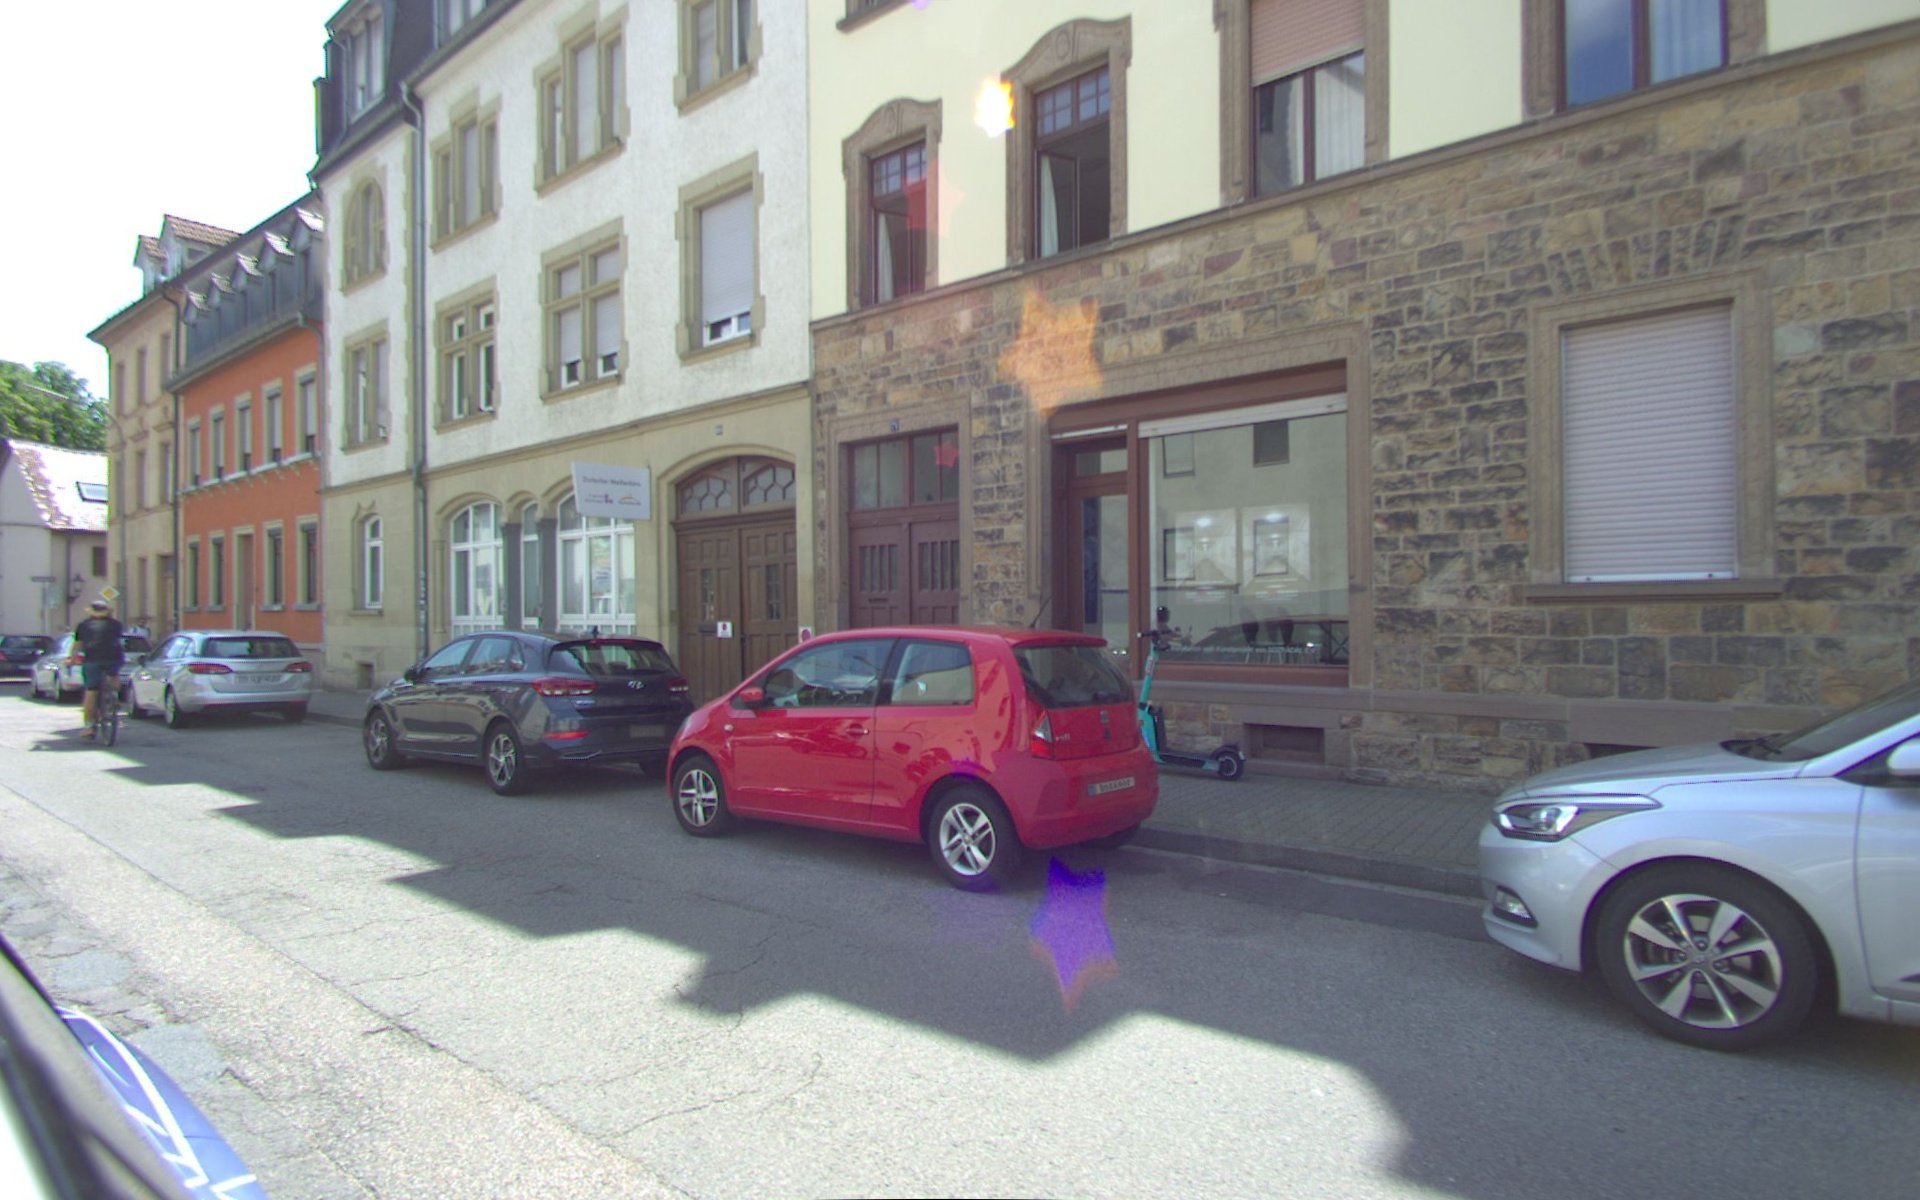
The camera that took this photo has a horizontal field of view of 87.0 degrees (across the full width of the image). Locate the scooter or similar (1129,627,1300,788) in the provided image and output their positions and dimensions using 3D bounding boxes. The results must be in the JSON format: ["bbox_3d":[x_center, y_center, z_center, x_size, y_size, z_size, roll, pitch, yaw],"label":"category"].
[{"bbox_3d":[2.070,0.847,8.335,1.318,1.230,0.371,-2,-2,39],"label":"scooter or similar"}]

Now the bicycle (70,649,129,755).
[{"bbox_3d":[-11.183,1.286,13.132,1.881,1.285,0.226,-2,-4,40],"label":"bicycle"}]

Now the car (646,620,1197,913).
[{"bbox_3d":[-0.383,0.886,6.763,3.490,1.453,1.583,-2,-2,38],"label":"car"}]

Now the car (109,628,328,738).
[{"bbox_3d":[-12.124,1.261,16.450,4.377,1.522,1.859,-2,-2,39],"label":"car"}]

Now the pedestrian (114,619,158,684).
[{"bbox_3d":[-23.241,1.444,28.549,0.763,1.784,0.761,-2,0,38],"label":"pedestrian"}]

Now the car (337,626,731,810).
[{"bbox_3d":[-4.407,1.030,10.203,4.212,1.449,1.855,-2,-2,38],"label":"car"}]

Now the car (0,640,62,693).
[{"bbox_3d":[-28.219,1.936,30.037,3.852,1.453,1.711,-2,-2,38],"label":"car"}]

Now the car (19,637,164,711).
[{"bbox_3d":[-18.924,1.558,21.999,3.848,1.470,1.693,-2,-3,39],"label":"car"}]

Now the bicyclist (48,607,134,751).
[{"bbox_3d":[-11.316,1.002,13.172,1.166,1.776,0.634,-2,-3,41],"label":"bicyclist"}]

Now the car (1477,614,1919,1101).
[{"bbox_3d":[3.998,0.767,3.128,4.014,1.442,1.618,-2,-3,40],"label":"car"}]
